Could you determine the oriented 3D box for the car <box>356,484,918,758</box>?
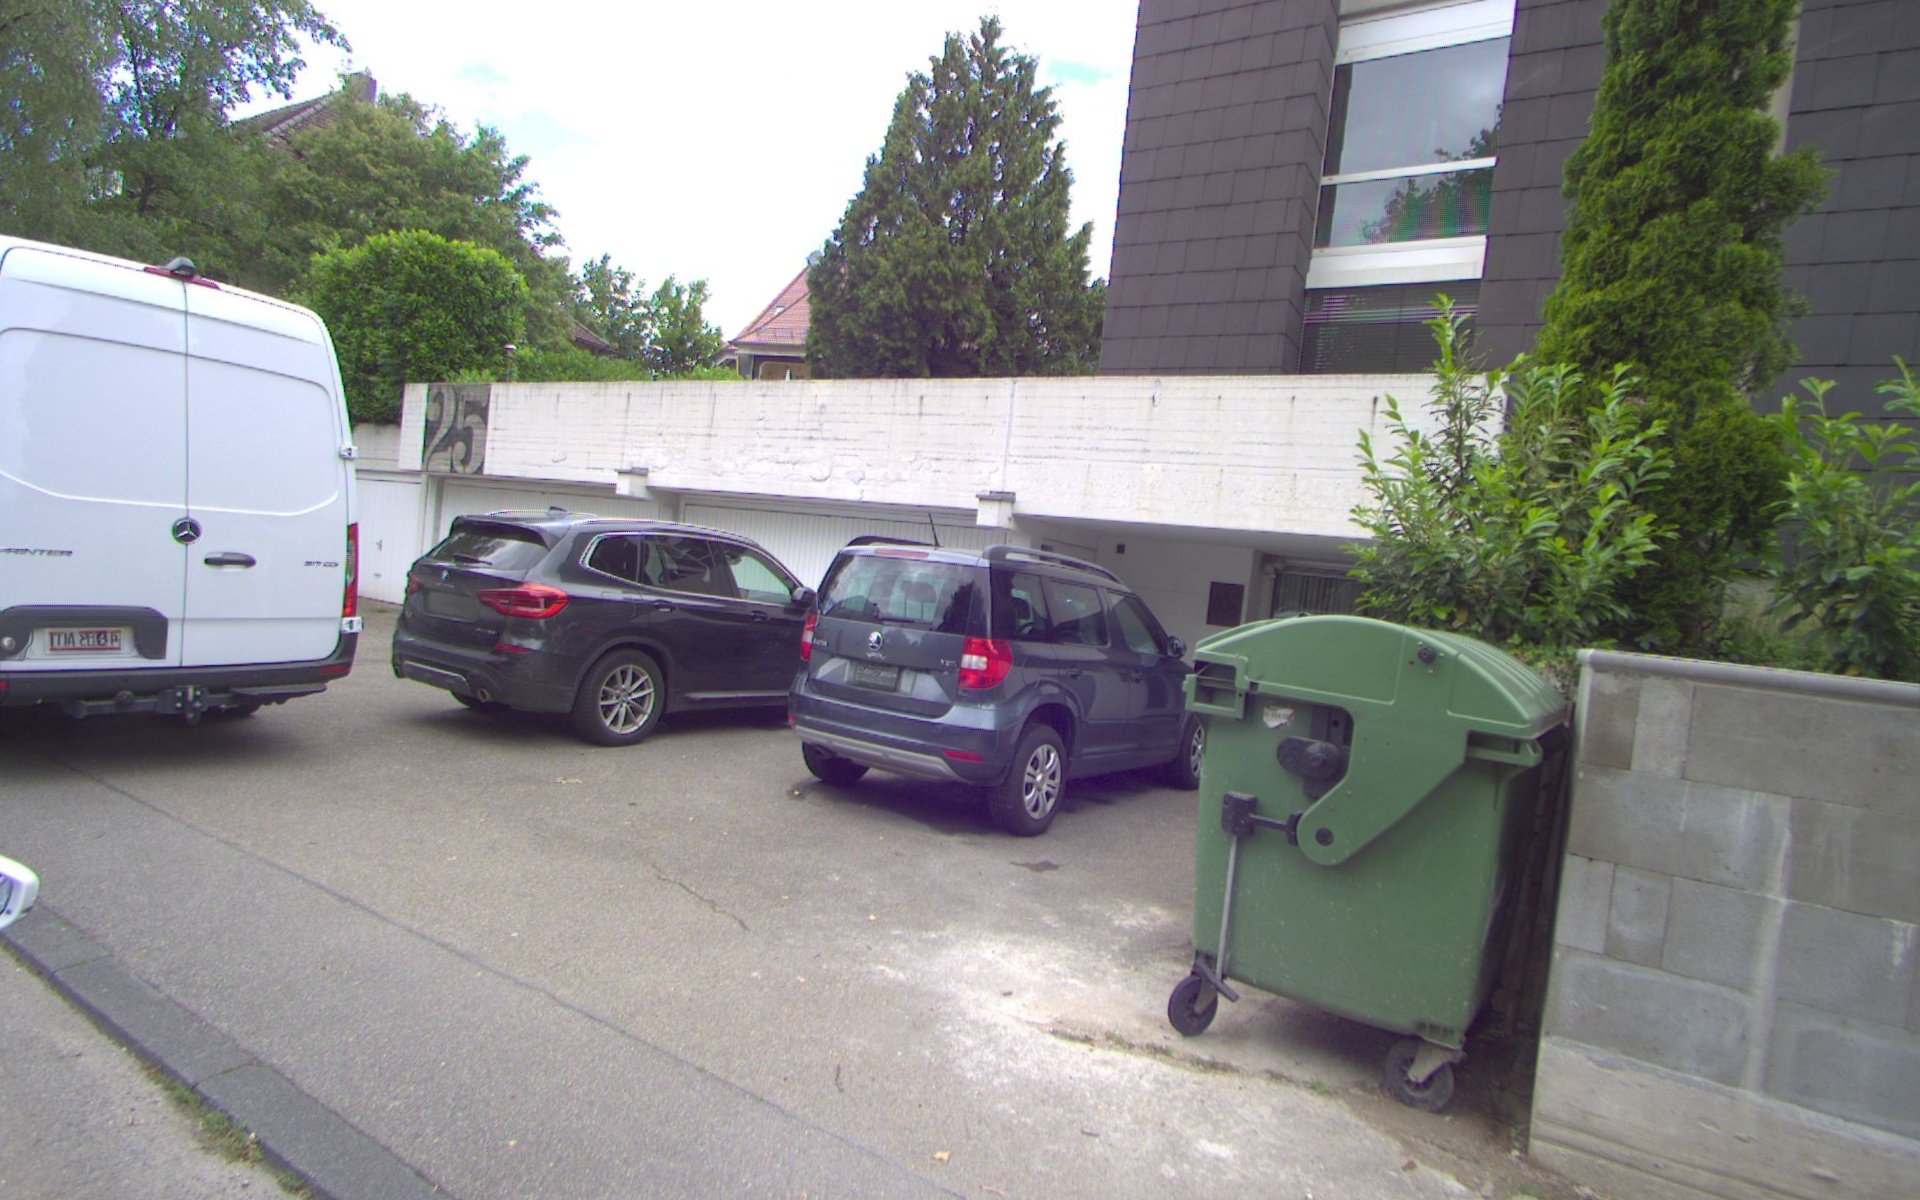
[{"bbox_3d":[-2.424,0.173,8.703,1.800,1.674,4.395,7,2,33],"label":"car"}]

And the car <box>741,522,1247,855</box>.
[{"bbox_3d":[0.499,0.520,7.373,1.801,1.674,3.796,7,2,35],"label":"car"}]

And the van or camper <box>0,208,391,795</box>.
[{"bbox_3d":[-6.655,-0.719,6.833,6.252,2.664,1.963,7,4,31],"label":"van or camper"}]

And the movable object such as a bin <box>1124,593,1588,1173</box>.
[{"bbox_3d":[1.435,0.782,3.545,1.161,1.470,1.300,6,2,31],"label":"movable object such as a bin"}]
